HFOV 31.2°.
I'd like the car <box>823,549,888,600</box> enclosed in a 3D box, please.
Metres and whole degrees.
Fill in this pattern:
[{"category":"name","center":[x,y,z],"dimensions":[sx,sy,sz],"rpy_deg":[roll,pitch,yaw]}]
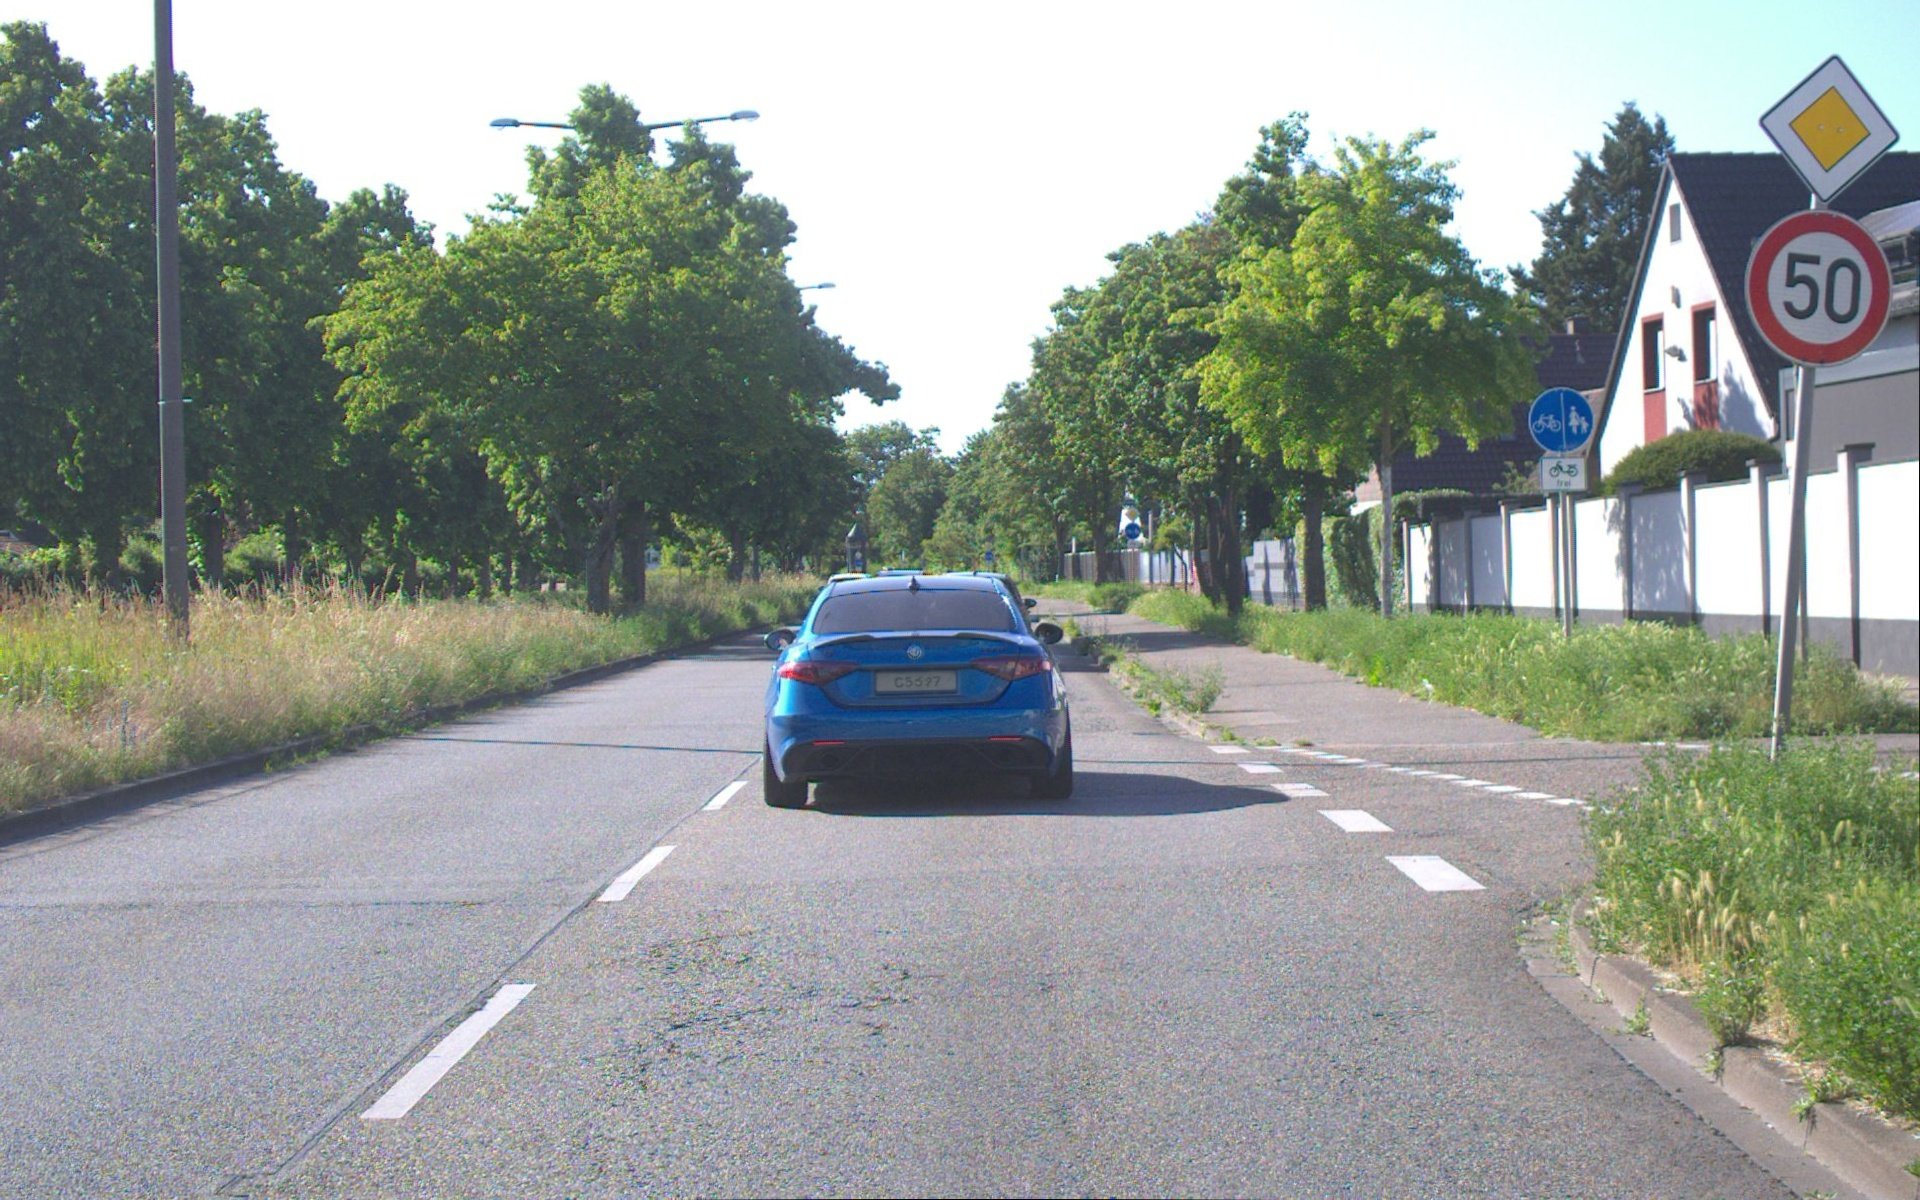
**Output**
[{"category":"car","center":[-3.169,-0.785,104.244],"dimensions":[1.915,1.507,4.068],"rpy_deg":[0,1,-2]}]

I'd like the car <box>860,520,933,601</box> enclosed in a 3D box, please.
[{"category":"car","center":[-1.598,-0.996,87.662],"dimensions":[1.793,2.007,4.000],"rpy_deg":[0,0,0]}]

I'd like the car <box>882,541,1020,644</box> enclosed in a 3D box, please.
[{"category":"car","center":[-0.190,-0.145,54.495],"dimensions":[1.915,1.574,4.183],"rpy_deg":[0,1,-4]}]

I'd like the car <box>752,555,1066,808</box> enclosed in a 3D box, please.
[{"category":"car","center":[-0.265,0.452,22.299],"dimensions":[1.838,1.469,4.184],"rpy_deg":[0,1,1]}]
